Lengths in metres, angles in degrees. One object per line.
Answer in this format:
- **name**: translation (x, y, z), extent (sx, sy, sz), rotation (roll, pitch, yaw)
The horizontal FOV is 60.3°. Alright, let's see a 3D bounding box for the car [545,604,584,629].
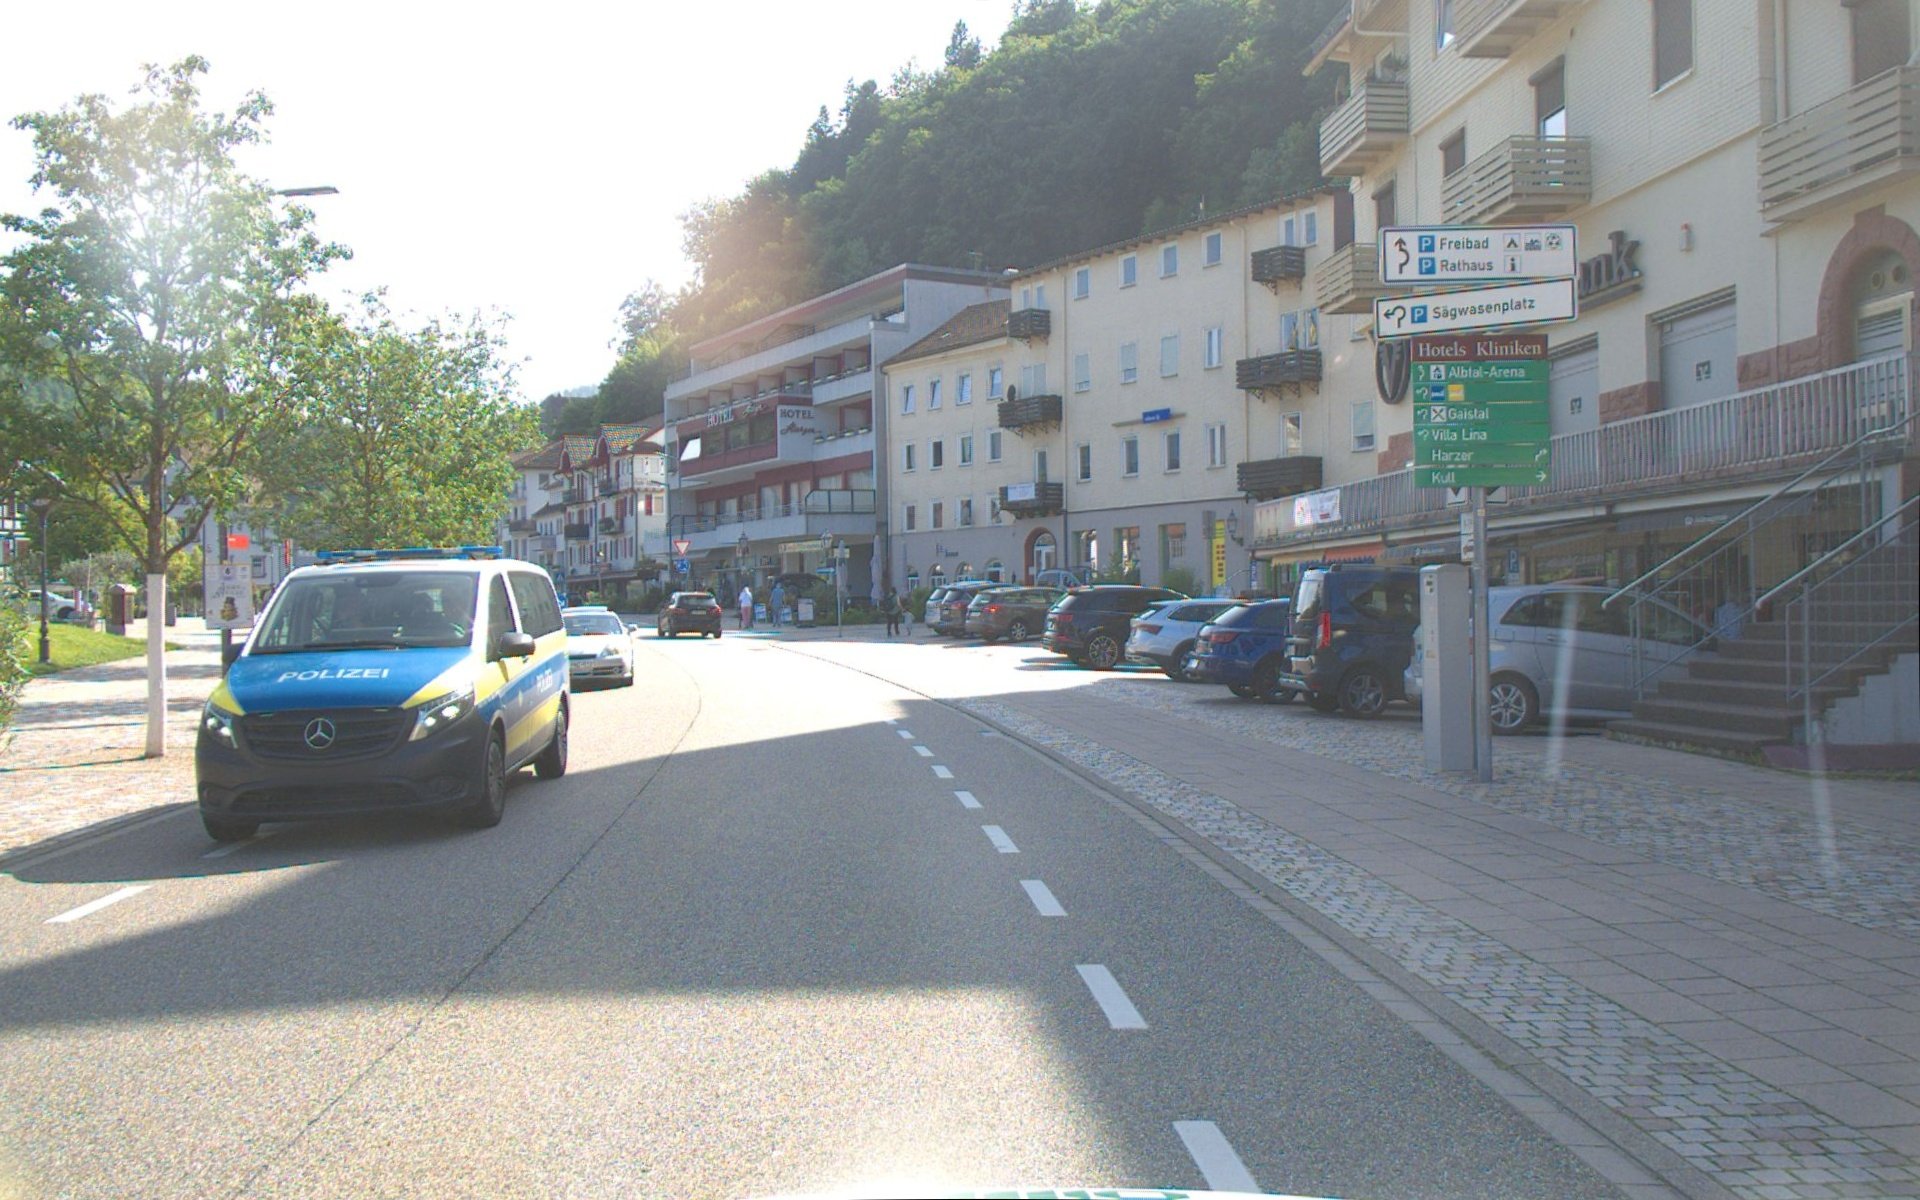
- **car**: translation (-27.346, 1.127, 114.230), extent (1.658, 1.649, 3.961), rotation (0, 0, -29)

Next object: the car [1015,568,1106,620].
- **car**: translation (4.083, -0.272, 67.543), extent (1.842, 2.049, 3.632), rotation (0, 1, -35)

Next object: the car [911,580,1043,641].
- **car**: translation (0.544, 0.304, 52.701), extent (3.813, 1.640, 1.758), rotation (-4, 2, -25)

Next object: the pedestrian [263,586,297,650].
- **pedestrian**: translation (-19.812, 0.512, 48.188), extent (0.856, 1.847, 0.685), rotation (0, 0, -26)

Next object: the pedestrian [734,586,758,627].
- **pedestrian**: translation (-8.547, 0.272, 66.046), extent (0.748, 1.622, 0.622), rotation (0, 0, -27)

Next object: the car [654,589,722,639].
- **car**: translation (-9.415, 0.446, 57.061), extent (1.701, 1.602, 3.732), rotation (0, 1, -20)

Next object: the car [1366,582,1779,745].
- **car**: translation (6.615, 0.665, 18.109), extent (3.833, 1.617, 1.773), rotation (1, 0, -5)

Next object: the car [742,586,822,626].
- **car**: translation (-7.799, 0.238, 72.441), extent (3.124, 1.692, 1.581), rotation (-1, 0, -26)

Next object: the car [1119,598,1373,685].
- **car**: translation (5.117, 0.753, 29.948), extent (4.269, 1.486, 1.771), rotation (0, -2, -3)

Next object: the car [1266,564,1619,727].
- **car**: translation (5.986, 0.567, 20.784), extent (3.833, 1.836, 1.855), rotation (2, -1, -5)

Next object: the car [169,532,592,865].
- **car**: translation (-4.155, 0.622, 12.799), extent (1.819, 1.987, 5.012), rotation (-2, 0, -5)

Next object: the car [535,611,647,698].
- **car**: translation (-6.714, 0.941, 30.387), extent (1.597, 1.394, 4.056), rotation (-3, 0, -8)

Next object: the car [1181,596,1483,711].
- **car**: translation (5.207, 0.738, 23.440), extent (3.833, 1.486, 1.734), rotation (1, 0, -5)

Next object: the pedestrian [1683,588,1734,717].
- **pedestrian**: translation (9.985, 0.692, 22.071), extent (0.403, 1.687, 0.435), rotation (-3, 0, 3)

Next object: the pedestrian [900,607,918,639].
- **pedestrian**: translation (-1.654, 0.744, 53.664), extent (0.408, 1.019, 0.531), rotation (-3, 0, 12)

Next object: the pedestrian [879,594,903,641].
- **pedestrian**: translation (-2.234, 0.562, 53.706), extent (0.720, 1.467, 0.633), rotation (-3, 0, -1)

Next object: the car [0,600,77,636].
- **car**: translation (-44.367, 0.838, 78.607), extent (4.128, 1.644, 1.672), rotation (0, 0, -32)

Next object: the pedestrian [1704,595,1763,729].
- **pedestrian**: translation (9.990, 0.793, 21.371), extent (0.449, 1.687, 0.432), rotation (-3, 0, -22)

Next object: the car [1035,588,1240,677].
- **car**: translation (3.708, 0.670, 34.902), extent (4.004, 1.695, 1.771), rotation (2, 0, -5)

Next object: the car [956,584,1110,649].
- **car**: translation (2.067, 0.436, 46.635), extent (3.960, 1.542, 1.758), rotation (-4, 2, -25)

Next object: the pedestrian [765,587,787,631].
- **pedestrian**: translation (-7.363, 0.347, 66.118), extent (0.661, 1.759, 0.701), rotation (0, 0, -27)

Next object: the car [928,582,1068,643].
- **car**: translation (1.152, 0.352, 49.998), extent (3.813, 1.576, 1.758), rotation (-4, 2, -25)

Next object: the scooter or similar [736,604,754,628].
- **scooter or similar**: translation (-8.625, 0.628, 66.204), extent (0.589, 0.967, 0.470), rotation (0, 0, -28)
